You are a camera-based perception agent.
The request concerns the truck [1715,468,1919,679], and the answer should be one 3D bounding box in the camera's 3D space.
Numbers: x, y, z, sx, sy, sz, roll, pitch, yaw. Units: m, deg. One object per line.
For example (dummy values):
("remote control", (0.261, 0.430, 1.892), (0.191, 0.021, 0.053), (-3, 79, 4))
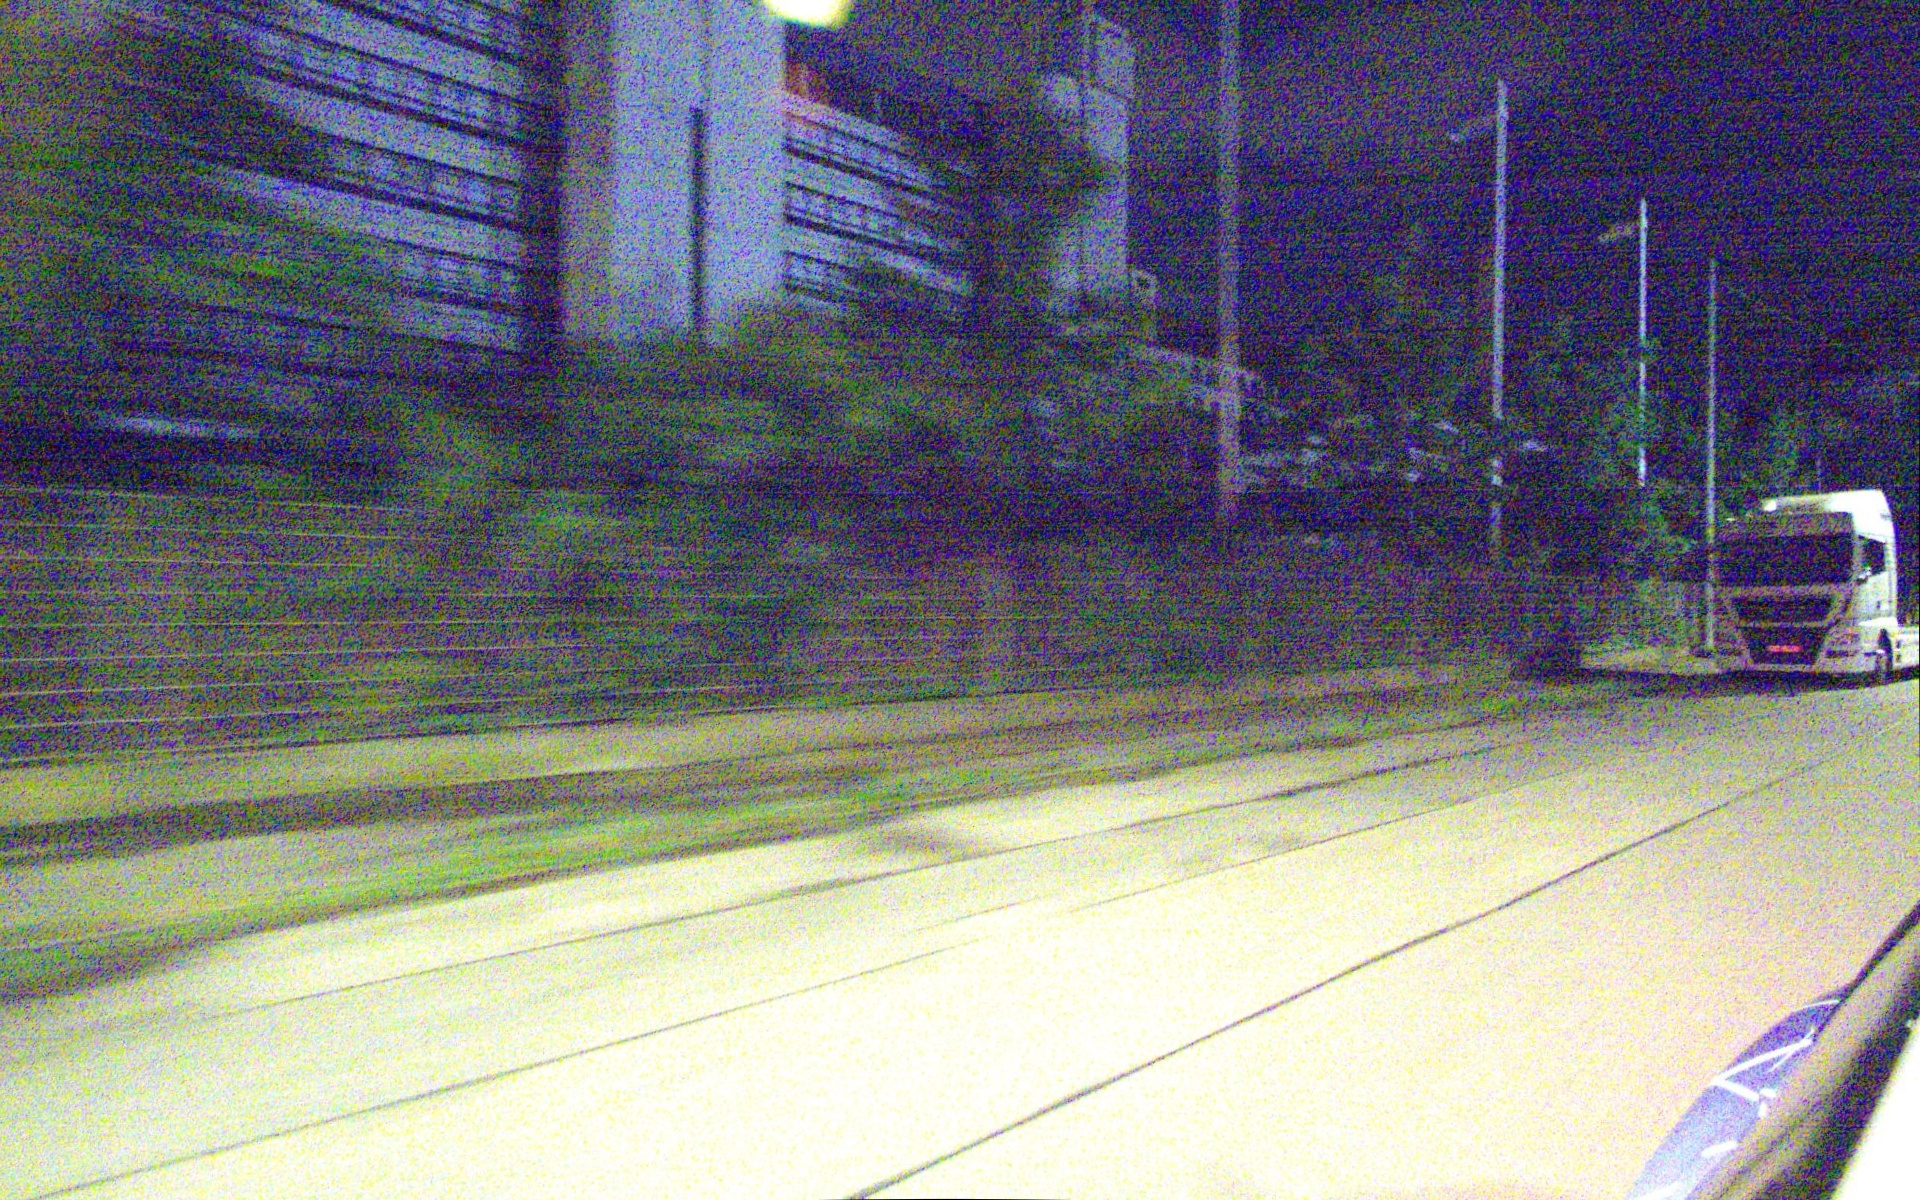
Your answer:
("truck", (21.321, -0.495, 23.269), (12.416, 3.886, 2.518), (0, 0, -35))
